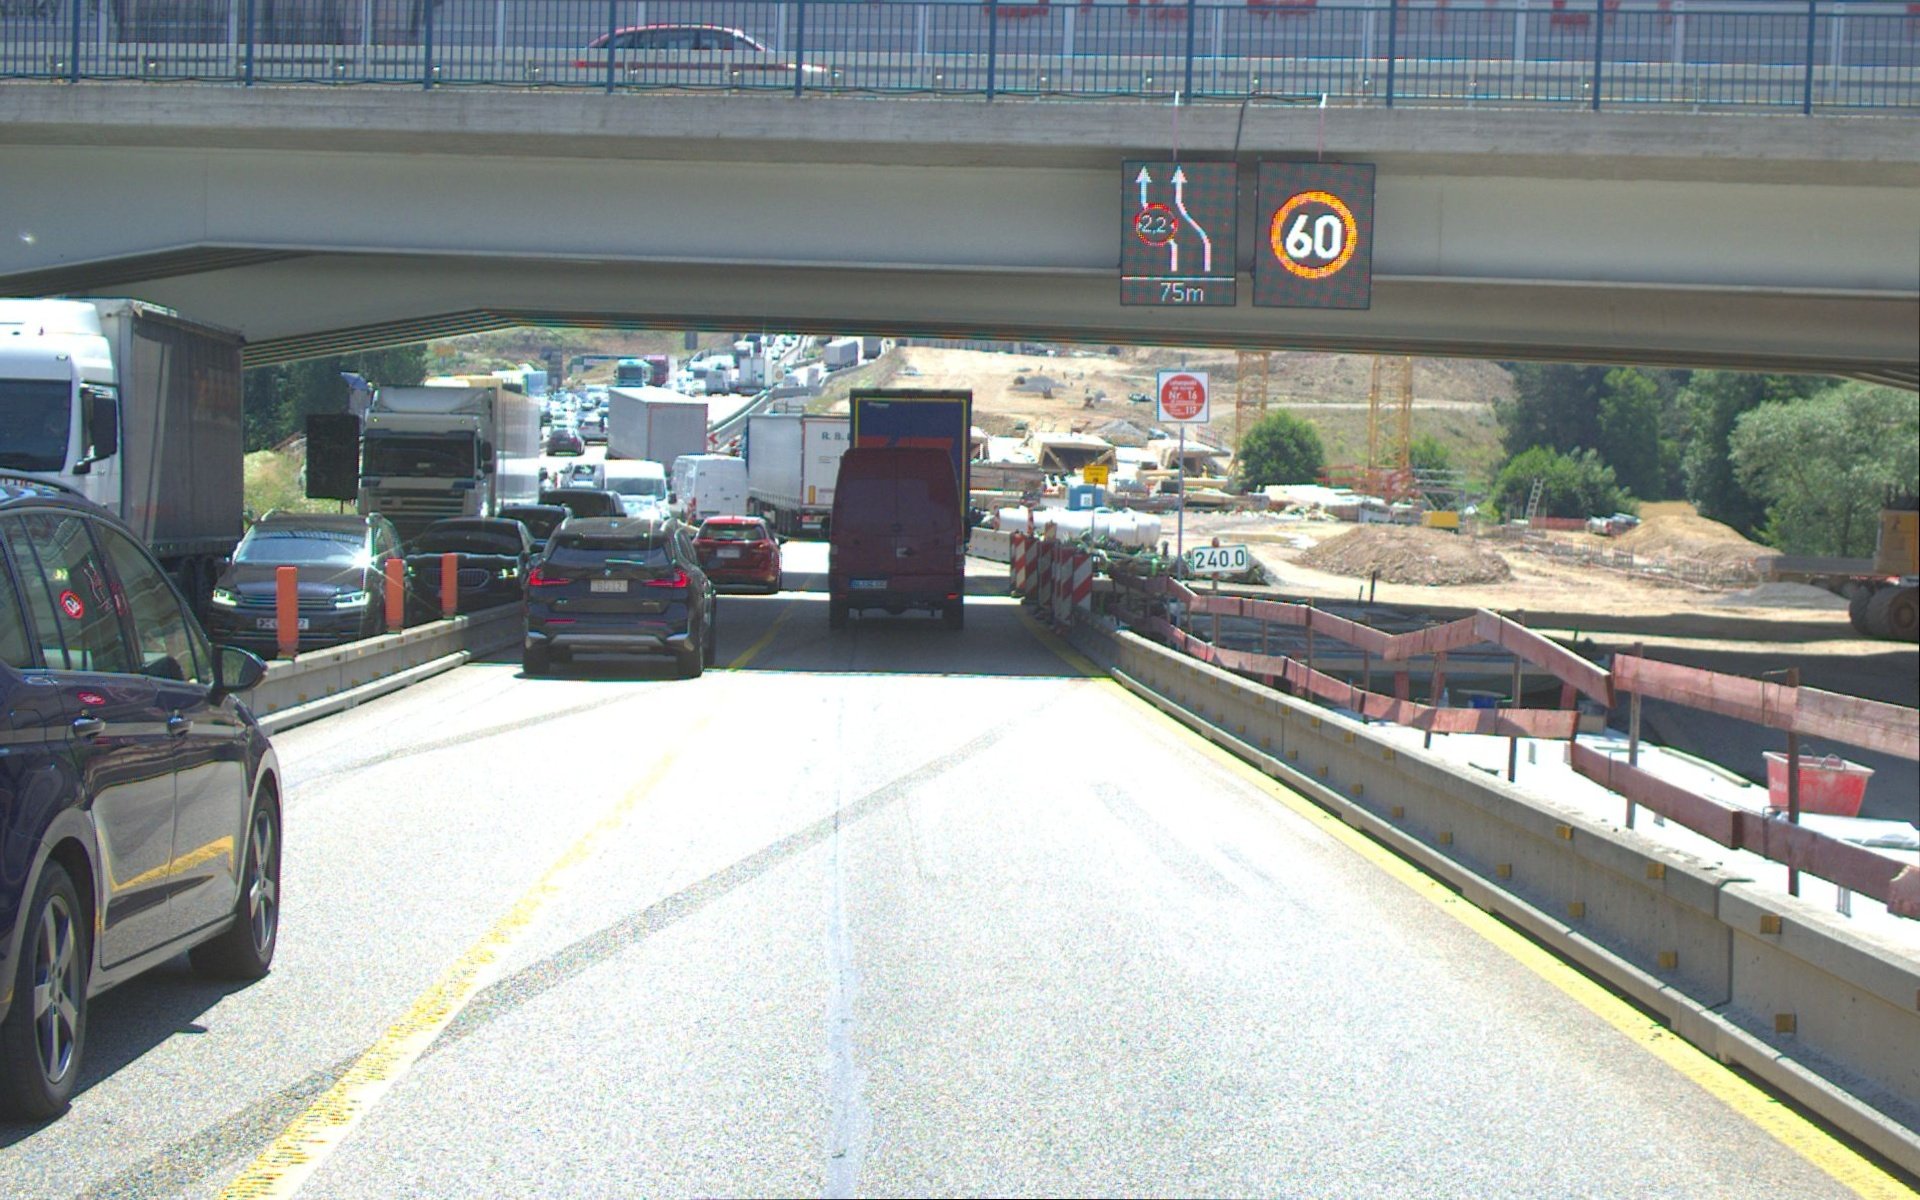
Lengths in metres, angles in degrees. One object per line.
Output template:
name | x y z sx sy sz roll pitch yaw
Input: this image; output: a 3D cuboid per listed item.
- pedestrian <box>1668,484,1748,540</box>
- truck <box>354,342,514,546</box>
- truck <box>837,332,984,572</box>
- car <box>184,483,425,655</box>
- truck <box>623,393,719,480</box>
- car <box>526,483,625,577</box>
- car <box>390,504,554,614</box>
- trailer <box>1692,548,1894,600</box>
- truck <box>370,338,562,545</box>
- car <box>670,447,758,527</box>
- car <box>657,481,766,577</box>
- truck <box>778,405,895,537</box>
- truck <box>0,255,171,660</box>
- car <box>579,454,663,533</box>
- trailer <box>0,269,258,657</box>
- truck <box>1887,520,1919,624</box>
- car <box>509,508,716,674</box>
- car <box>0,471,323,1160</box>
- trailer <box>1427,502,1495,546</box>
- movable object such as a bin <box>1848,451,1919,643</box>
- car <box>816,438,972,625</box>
pedestrian | 28.361 -3.320 130.477 1.993 2.007 4.000 1 0 -2
truck | -11.315 -3.300 74.341 2.659 4.156 5.187 1 0 -1
truck | -1.033 -3.311 74.947 2.945 4.927 6.743 1 4 0
car | -7.154 -0.341 37.944 1.855 1.750 4.609 1 0 -1
truck | -12.521 -7.014 148.459 3.218 3.349 8.943 1 0 -10
car | -8.320 -1.544 74.686 1.799 1.926 4.969 1 2 -3
car | -7.199 -0.604 51.131 1.855 1.522 4.774 1 0 -1
trailer | 21.615 -0.676 89.304 4.713 1.215 2.056 1 0 -1
truck | -11.436 -3.524 80.918 2.769 4.298 13.491 1 0 -1
car | -8.117 -3.739 113.072 2.264 2.346 5.162 1 4 -10
car | -4.801 -1.385 66.922 1.833 1.771 4.390 1 1 -1
truck | -4.066 -4.226 111.371 3.181 3.975 6.744 1 4 -7
truck | -10.385 -1.500 37.320 2.798 4.136 4.074 1 0 -3
car | -10.517 -3.295 106.348 1.980 2.322 6.060 1 2 -11
trailer | -10.552 -1.533 41.283 2.812 4.159 8.244 1 0 -2
truck | 22.677 -0.452 70.537 6.521 2.066 2.665 2 2 2
car | -3.631 -0.128 36.588 1.833 1.630 4.390 1 1 -1
car | -3.122 0.463 9.874 1.734 1.630 4.390 1 1 0
trailer | 18.257 -2.789 125.389 1.623 1.481 3.827 2 2 -5
movable object such as a bin | 19.102 -0.922 65.416 3.883 3.530 2.902 3 0 10
car | -0.956 -0.988 51.312 2.150 2.602 5.439 1 0 -1
